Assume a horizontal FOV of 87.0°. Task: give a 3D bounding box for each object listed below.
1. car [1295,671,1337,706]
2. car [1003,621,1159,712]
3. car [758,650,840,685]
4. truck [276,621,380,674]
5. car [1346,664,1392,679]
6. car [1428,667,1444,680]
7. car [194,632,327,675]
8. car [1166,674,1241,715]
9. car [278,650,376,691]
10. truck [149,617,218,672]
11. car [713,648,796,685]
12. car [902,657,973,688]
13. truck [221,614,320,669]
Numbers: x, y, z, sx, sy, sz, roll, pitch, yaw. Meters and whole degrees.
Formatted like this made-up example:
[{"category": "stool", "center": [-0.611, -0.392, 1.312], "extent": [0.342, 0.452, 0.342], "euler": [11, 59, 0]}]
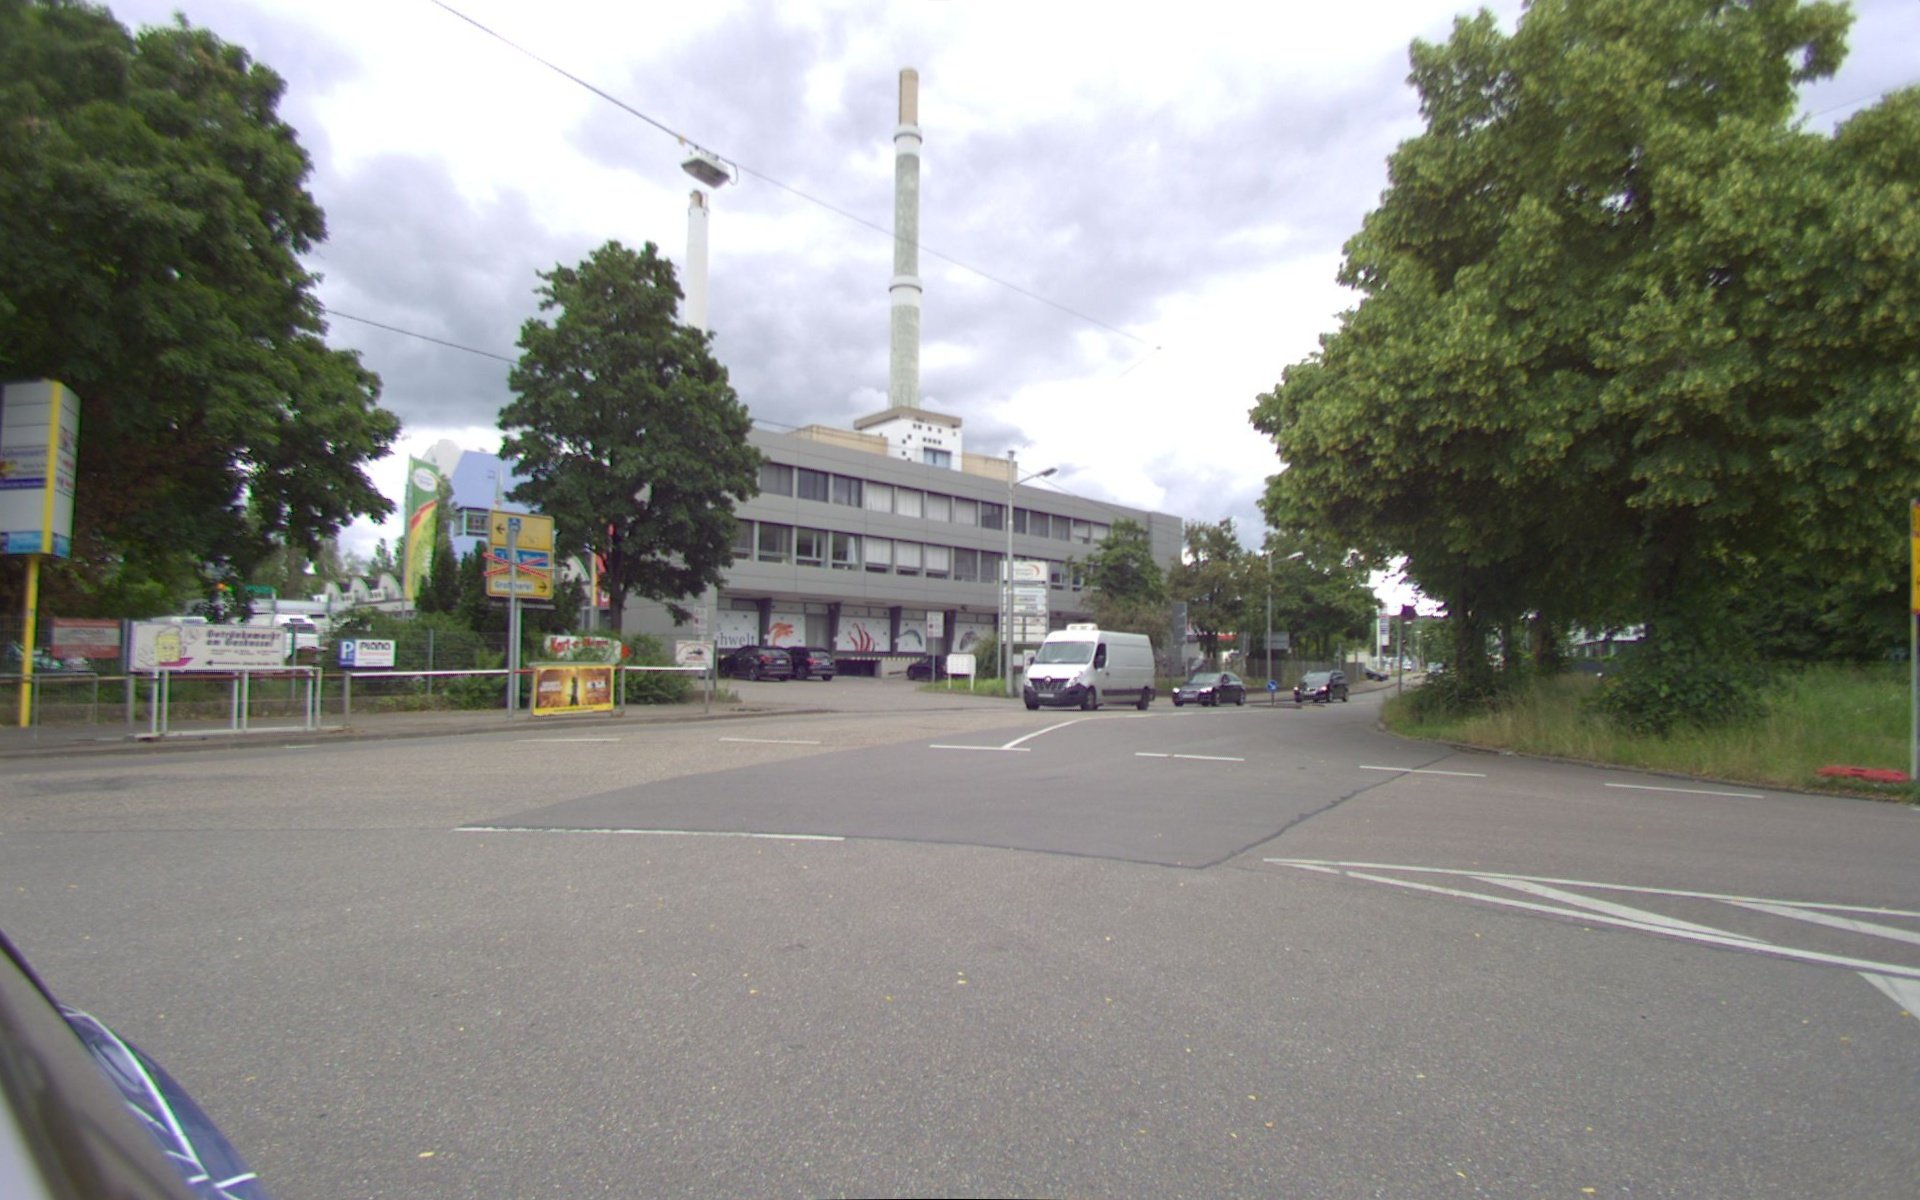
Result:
[{"category": "car", "center": [18.104, 4.453, 51.308], "extent": [1.784, 1.653, 4.407], "euler": [-1, -4, 22]}, {"category": "car", "center": [3.822, 2.031, 30.774], "extent": [2.381, 2.478, 6.034], "euler": [-3, -5, 31]}, {"category": "car", "center": [-8.172, 3.375, 51.028], "extent": [1.812, 1.630, 4.426], "euler": [4, -4, -45]}, {"category": "truck", "center": [-51.558, 3.964, 82.280], "extent": [15.724, 3.964, 2.812], "euler": [-3, -5, 42]}, {"category": "car", "center": [53.239, 9.337, 131.807], "extent": [5.435, 1.884, 2.009], "euler": [-2, -4, 26]}, {"category": "car", "center": [61.519, 9.485, 130.938], "extent": [1.786, 1.653, 4.403], "euler": [-2, -4, 25]}, {"category": "car", "center": [-47.673, 3.727, 69.163], "extent": [2.244, 2.754, 7.050], "euler": [-3, -6, 44]}, {"category": "car", "center": [10.032, 3.810, 41.421], "extent": [1.858, 1.524, 4.396], "euler": [-2, -4, 29]}, {"category": "car", "center": [-20.680, 2.276, 33.020], "extent": [3.700, 1.258, 1.686], "euler": [-3, -5, 41]}, {"category": "truck", "center": [-63.373, 3.660, 82.475], "extent": [9.191, 4.198, 2.956], "euler": [-3, -5, 44]}, {"category": "car", "center": [-9.959, 3.190, 48.846], "extent": [1.811, 1.630, 4.469], "euler": [4, -4, -44]}, {"category": "car", "center": [-1.292, 3.941, 55.466], "extent": [2.015, 1.456, 4.844], "euler": [2, -2, -27]}, {"category": "truck", "center": [-54.214, 3.373, 79.321], "extent": [15.727, 3.964, 2.812], "euler": [-3, -5, 43]}]
